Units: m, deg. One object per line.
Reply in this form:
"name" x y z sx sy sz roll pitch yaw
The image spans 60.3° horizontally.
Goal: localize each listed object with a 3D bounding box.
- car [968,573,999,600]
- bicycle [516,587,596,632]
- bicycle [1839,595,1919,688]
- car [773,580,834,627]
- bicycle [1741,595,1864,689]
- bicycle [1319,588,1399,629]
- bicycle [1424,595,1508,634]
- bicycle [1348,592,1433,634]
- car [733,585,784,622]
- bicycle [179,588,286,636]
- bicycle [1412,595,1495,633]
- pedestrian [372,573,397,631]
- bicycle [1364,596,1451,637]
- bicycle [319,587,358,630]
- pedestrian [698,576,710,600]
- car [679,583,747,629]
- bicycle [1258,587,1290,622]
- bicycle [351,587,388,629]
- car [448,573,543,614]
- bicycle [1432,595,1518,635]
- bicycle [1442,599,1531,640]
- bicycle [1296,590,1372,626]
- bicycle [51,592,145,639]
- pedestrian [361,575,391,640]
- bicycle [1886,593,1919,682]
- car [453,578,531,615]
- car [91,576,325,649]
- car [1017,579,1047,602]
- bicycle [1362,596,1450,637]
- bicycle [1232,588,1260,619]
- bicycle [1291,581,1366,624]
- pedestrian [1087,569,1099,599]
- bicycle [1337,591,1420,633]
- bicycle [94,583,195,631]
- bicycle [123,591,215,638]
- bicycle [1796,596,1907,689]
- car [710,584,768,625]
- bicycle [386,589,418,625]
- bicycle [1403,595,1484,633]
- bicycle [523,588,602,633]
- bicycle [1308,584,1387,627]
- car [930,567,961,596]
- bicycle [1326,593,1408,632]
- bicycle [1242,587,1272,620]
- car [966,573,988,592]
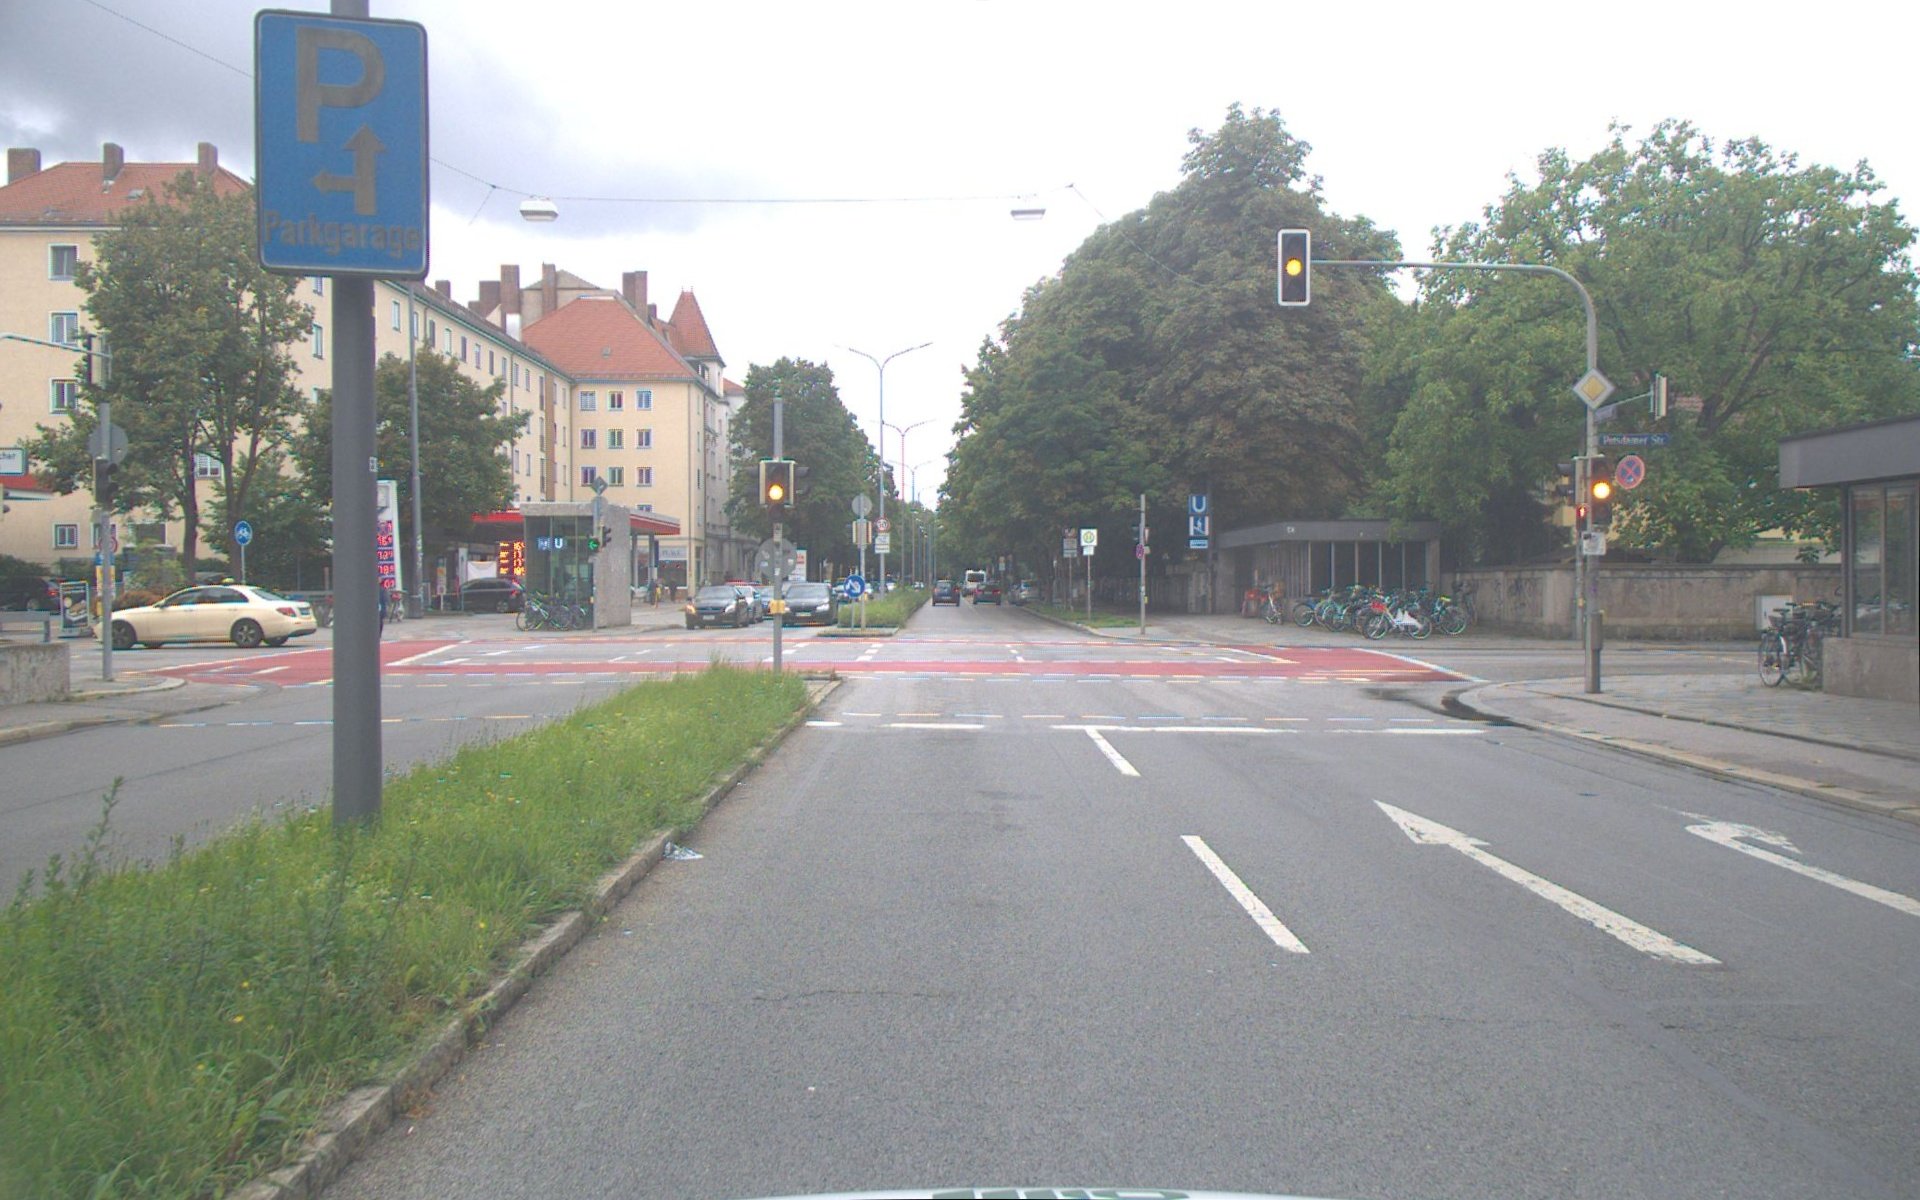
"car" 1.535 -0.903 109.050 1.883 1.713 4.000 1 0 0
"bicycle" -12.136 0.293 49.685 2.225 1.327 0.704 0 0 0
"bicycle" 11.883 0.505 21.055 0.459 1.141 1.735 0 0 0
"car" -5.319 0.091 56.626 1.724 1.519 4.000 0 1 -1
"bicycle" 10.673 0.513 21.021 0.587 1.141 1.889 0 0 0
"bicycle" 10.951 0.234 45.459 2.097 1.105 0.603 0 0 8
"bicycle" 13.582 0.393 44.447 2.097 1.032 0.634 0 0 8
"bicycle" 11.270 0.331 43.364 2.097 1.089 0.603 0 0 8
"car" -8.533 0.123 70.354 1.724 1.486 4.000 0 1 -1
"bicycle" -20.450 0.344 46.520 2.676 1.273 0.785 1 0 -31
"bicycle" 13.495 0.386 45.240 2.097 1.032 0.634 0 0 8
"pedestrian" -17.193 0.045 49.420 0.583 1.725 0.571 0 0 -31
"bicycle" 11.494 0.422 42.561 2.097 1.032 0.634 0 0 8
"bicycle" -18.886 0.234 50.282 0.596 1.257 2.184 0 1 -7
"pedestrian" -17.825 -0.848 115.198 0.682 1.666 0.738 0 0 0
"car" -8.360 0.179 56.266 1.724 1.486 4.000 0 1 -1
"bicycle" 9.671 0.134 51.005 0.545 1.032 2.015 0 1 -2
"bicycle" -18.247 0.225 51.116 0.596 1.257 2.184 0 1 -7
"car" -21.488 -0.325 76.688 3.907 1.870 1.879 0 1 -3
"bicycle" 13.582 0.395 43.679 2.097 1.032 0.634 0 0 8
"bicycle" 13.639 0.502 42.883 2.097 1.032 0.634 0 0 8
"bicycle" 10.802 0.222 47.779 2.097 1.032 0.603 0 0 8
"bicycle" -23.597 0.418 45.321 2.140 1.257 0.764 0 1 -10
"pedestrian" -15.572 0.203 44.121 0.522 1.725 0.577 0 0 11
"bicycle" 12.514 0.484 21.055 0.459 1.141 1.735 0 0 0
"car" -26.106 -0.196 92.348 3.909 2.049 1.889 0 1 -5
"car" -17.629 0.267 38.915 4.669 1.675 1.784 0 1 -2
"car" 4.524 -0.610 104.383 1.707 1.387 3.806 0 1 -1
"bicycle" 11.304 0.416 41.935 2.097 1.032 0.603 0 0 8
"bicycle" 9.856 0.099 57.048 0.545 1.032 2.015 0 1 -2
"bicycle" 10.797 0.069 48.497 2.097 1.240 0.603 0 0 8
"pedestrian" 7.629 -0.934 95.076 0.663 1.712 0.683 0 0 5
"bicycle" 11.130 0.315 44.017 2.097 1.120 0.603 0 0 8
"bicycle" -22.687 0.200 46.056 2.351 1.273 0.790 1 0 -11
"bicycle" -21.697 0.397 45.427 2.142 1.257 0.763 0 1 -12
"bicycle" 11.315 0.521 21.045 0.459 1.141 1.735 0 0 0
"car" -8.422 0.145 63.357 1.724 1.486 4.000 0 1 -1
"bicycle" -18.609 0.212 55.183 0.596 1.165 1.963 0 1 -7
"bicycle" 13.436 0.380 46.025 2.097 1.032 0.634 0 0 8
"bicycle" -12.118 0.312 50.465 2.238 1.327 0.694 0 0 0
"bicycle" 10.816 0.152 46.195 2.097 1.199 0.603 0 0 8
"car" -0.904 -1.137 99.857 1.819 1.713 4.000 0 1 -1
"bicycle" 10.997 0.336 44.731 2.097 1.032 0.603 0 0 8
"bicycle" 9.648 0.113 53.735 0.545 1.032 2.015 0 1 -2
"car" 1.607 -1.724 158.347 1.953 1.787 3.999 0 1 -1
